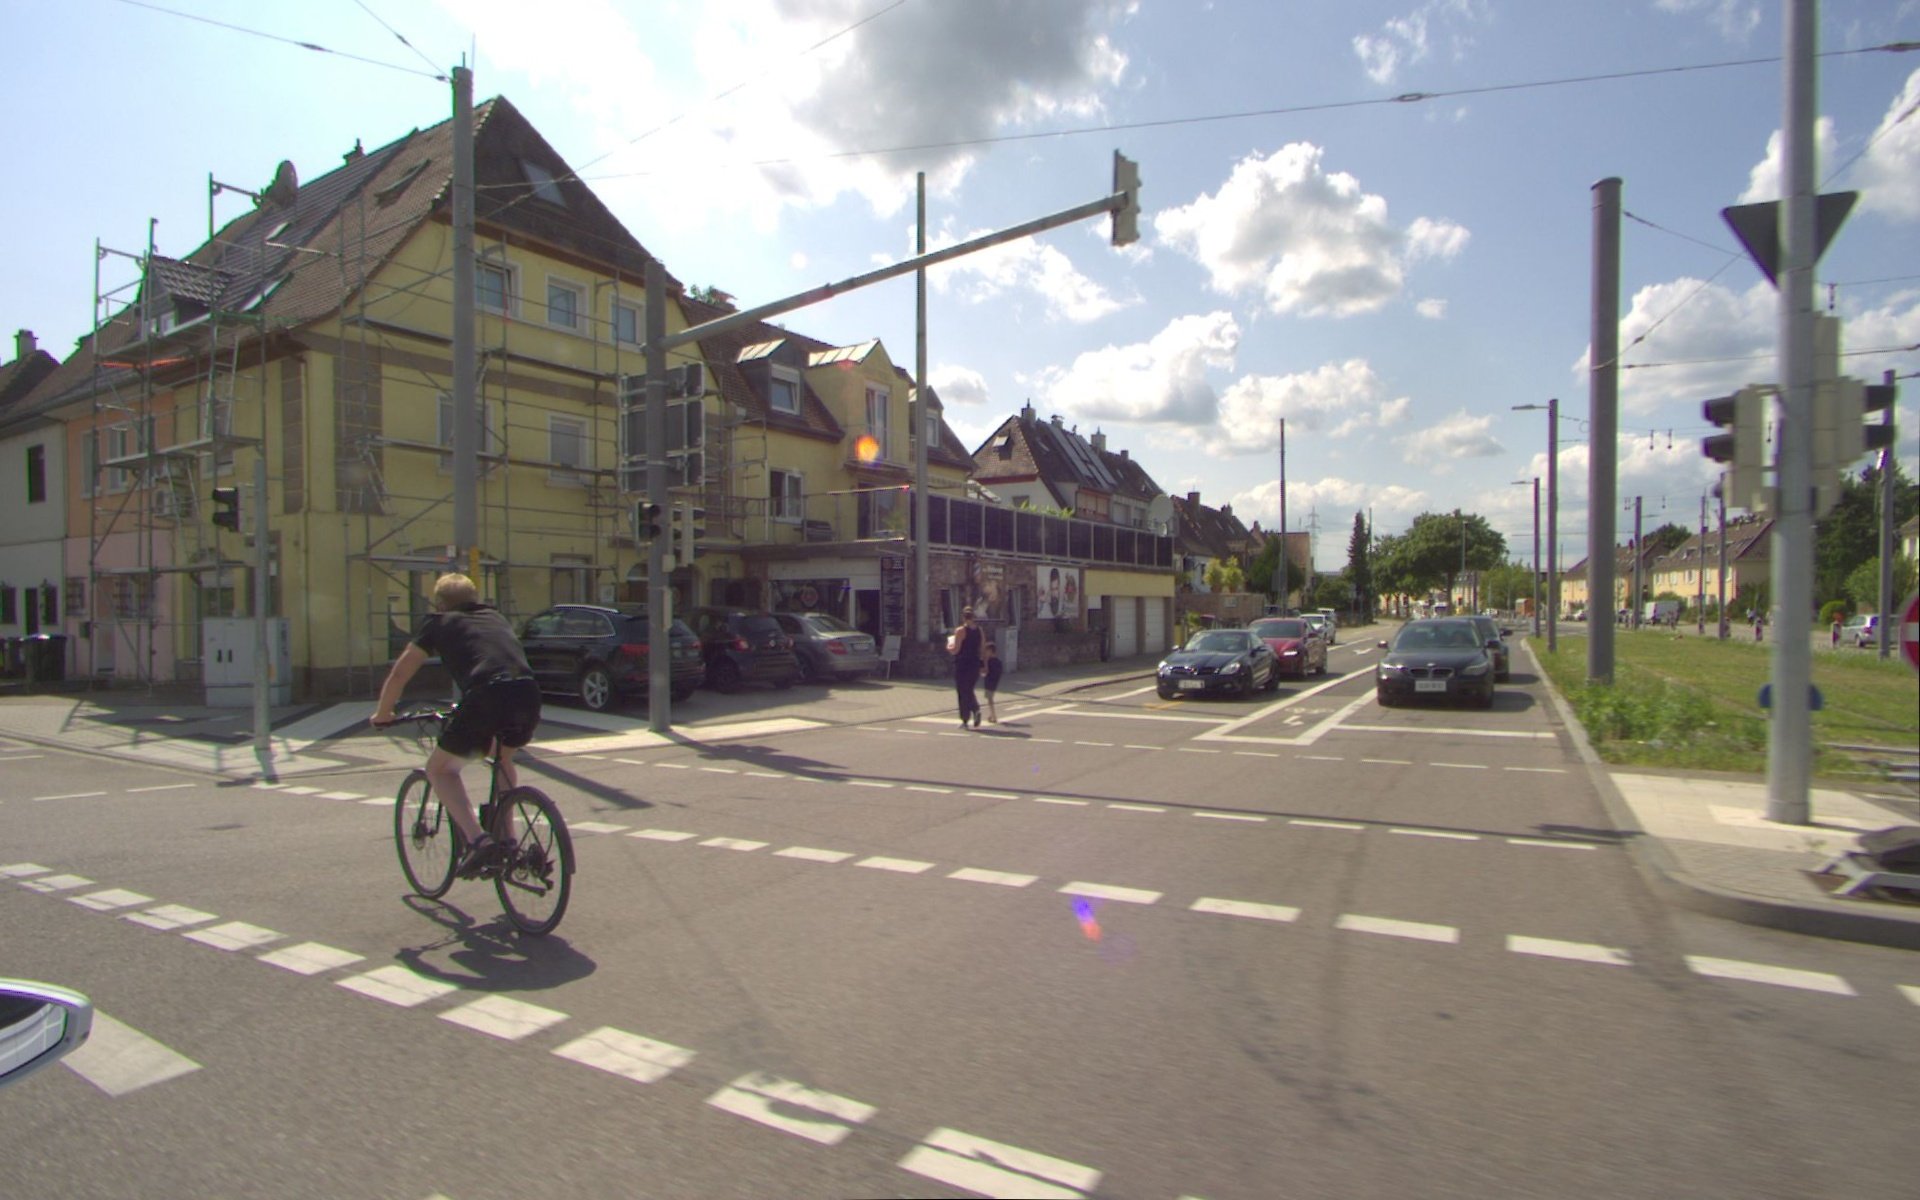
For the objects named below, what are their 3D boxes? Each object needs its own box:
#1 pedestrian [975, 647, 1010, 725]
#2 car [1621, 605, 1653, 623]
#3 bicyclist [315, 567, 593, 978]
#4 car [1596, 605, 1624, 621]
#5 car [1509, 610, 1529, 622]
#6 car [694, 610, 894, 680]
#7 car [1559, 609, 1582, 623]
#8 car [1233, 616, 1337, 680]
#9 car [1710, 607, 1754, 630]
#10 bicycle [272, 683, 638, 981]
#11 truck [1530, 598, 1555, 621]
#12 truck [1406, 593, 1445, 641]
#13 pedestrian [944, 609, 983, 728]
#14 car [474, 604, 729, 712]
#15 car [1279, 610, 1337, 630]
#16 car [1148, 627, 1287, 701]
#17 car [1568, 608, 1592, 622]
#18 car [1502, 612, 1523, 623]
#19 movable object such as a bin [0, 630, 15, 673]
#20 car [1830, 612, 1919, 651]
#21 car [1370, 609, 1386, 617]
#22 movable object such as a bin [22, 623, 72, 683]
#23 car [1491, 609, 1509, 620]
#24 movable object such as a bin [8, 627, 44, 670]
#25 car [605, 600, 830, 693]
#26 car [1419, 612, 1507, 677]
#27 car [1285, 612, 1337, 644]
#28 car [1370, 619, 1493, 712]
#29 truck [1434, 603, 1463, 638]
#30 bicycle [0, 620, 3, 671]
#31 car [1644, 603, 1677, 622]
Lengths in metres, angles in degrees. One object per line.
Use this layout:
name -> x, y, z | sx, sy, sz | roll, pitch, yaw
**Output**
pedestrian -> 0.488, 1.285, 15.102 | 0.480, 1.151, 0.389 | 0, -1, -6
car -> 69.663, 1.454, 103.109 | 1.966, 1.746, 3.991 | 0, -2, 23
bicyclist -> -2.548, 0.753, 5.056 | 1.069, 1.818, 0.825 | 1, 2, 35
car -> 73.936, 1.476, 113.900 | 1.966, 1.746, 3.991 | 0, -2, 23
car -> 85.431, 2.442, 153.039 | 1.965, 1.746, 3.993 | 0, -2, 20
car -> -3.598, 0.935, 21.531 | 4.073, 1.368, 1.864 | -1, -2, 33
car -> 80.196, 2.105, 131.506 | 1.966, 1.746, 3.991 | 0, -2, 23
car -> 8.326, 1.187, 25.424 | 1.713, 1.492, 4.312 | 0, -2, 29
car -> 62.084, 1.493, 80.564 | 1.968, 1.746, 3.988 | 0, -2, 26
bicycle -> -2.616, 1.055, 5.117 | 1.944, 1.090, 0.826 | 1, 2, 35
truck -> 84.452, 1.384, 145.350 | 1.964, 3.267, 5.330 | 0, -2, 17
truck -> 39.572, 1.499, 85.008 | 2.473, 3.874, 7.612 | 0, -2, 29
pedestrian -> 0.047, 0.965, 14.279 | 0.538, 1.664, 0.401 | 0, -1, -2
car -> -6.062, 0.920, 16.857 | 4.073, 1.616, 1.990 | -1, -2, 33
car -> 27.944, 1.616, 80.400 | 4.258, 1.492, 1.948 | 0, -2, 24
car -> 5.320, 1.233, 20.274 | 1.713, 1.325, 4.312 | 0, -2, 29
car -> 78.061, 1.910, 126.099 | 1.966, 1.746, 3.991 | 0, -2, 23
car -> 87.984, 2.832, 159.439 | 1.963, 1.746, 3.998 | 0, -2, 14
movable object such as a bin -> -21.745, 1.164, 22.609 | 0.550, 0.959, 0.467 | 0, 0, 32
car -> 38.261, 1.285, 41.922 | 1.707, 1.422, 4.002 | 4, 2, 26
car -> 100.087, 3.121, 239.834 | 1.961, 1.746, 4.002 | 0, -2, 0
movable object such as a bin -> -17.355, 0.994, 19.032 | 0.843, 1.119, 0.510 | 0, 0, 33
car -> 90.543, 2.491, 167.927 | 1.964, 1.746, 3.995 | 0, -2, 18
movable object such as a bin -> -21.473, 1.113, 23.017 | 0.550, 0.959, 0.467 | 0, 1, 32
car -> -4.711, 0.868, 19.344 | 4.073, 1.616, 1.990 | -1, -2, 33
car -> 12.297, 1.006, 24.355 | 1.713, 1.346, 4.309 | -1, 0, 29
car -> 17.244, 1.407, 49.058 | 1.713, 1.492, 4.312 | 0, -2, 29
car -> 8.603, 1.071, 18.082 | 1.713, 1.346, 4.309 | -1, 0, 29
truck -> 52.126, 2.250, 106.817 | 2.344, 3.582, 8.498 | 0, -2, 29
bicycle -> -22.192, 1.021, 21.211 | 0.775, 1.120, 2.656 | 0, 1, 32
car -> 66.556, 1.202, 95.211 | 1.968, 1.746, 3.988 | 0, -2, 26
